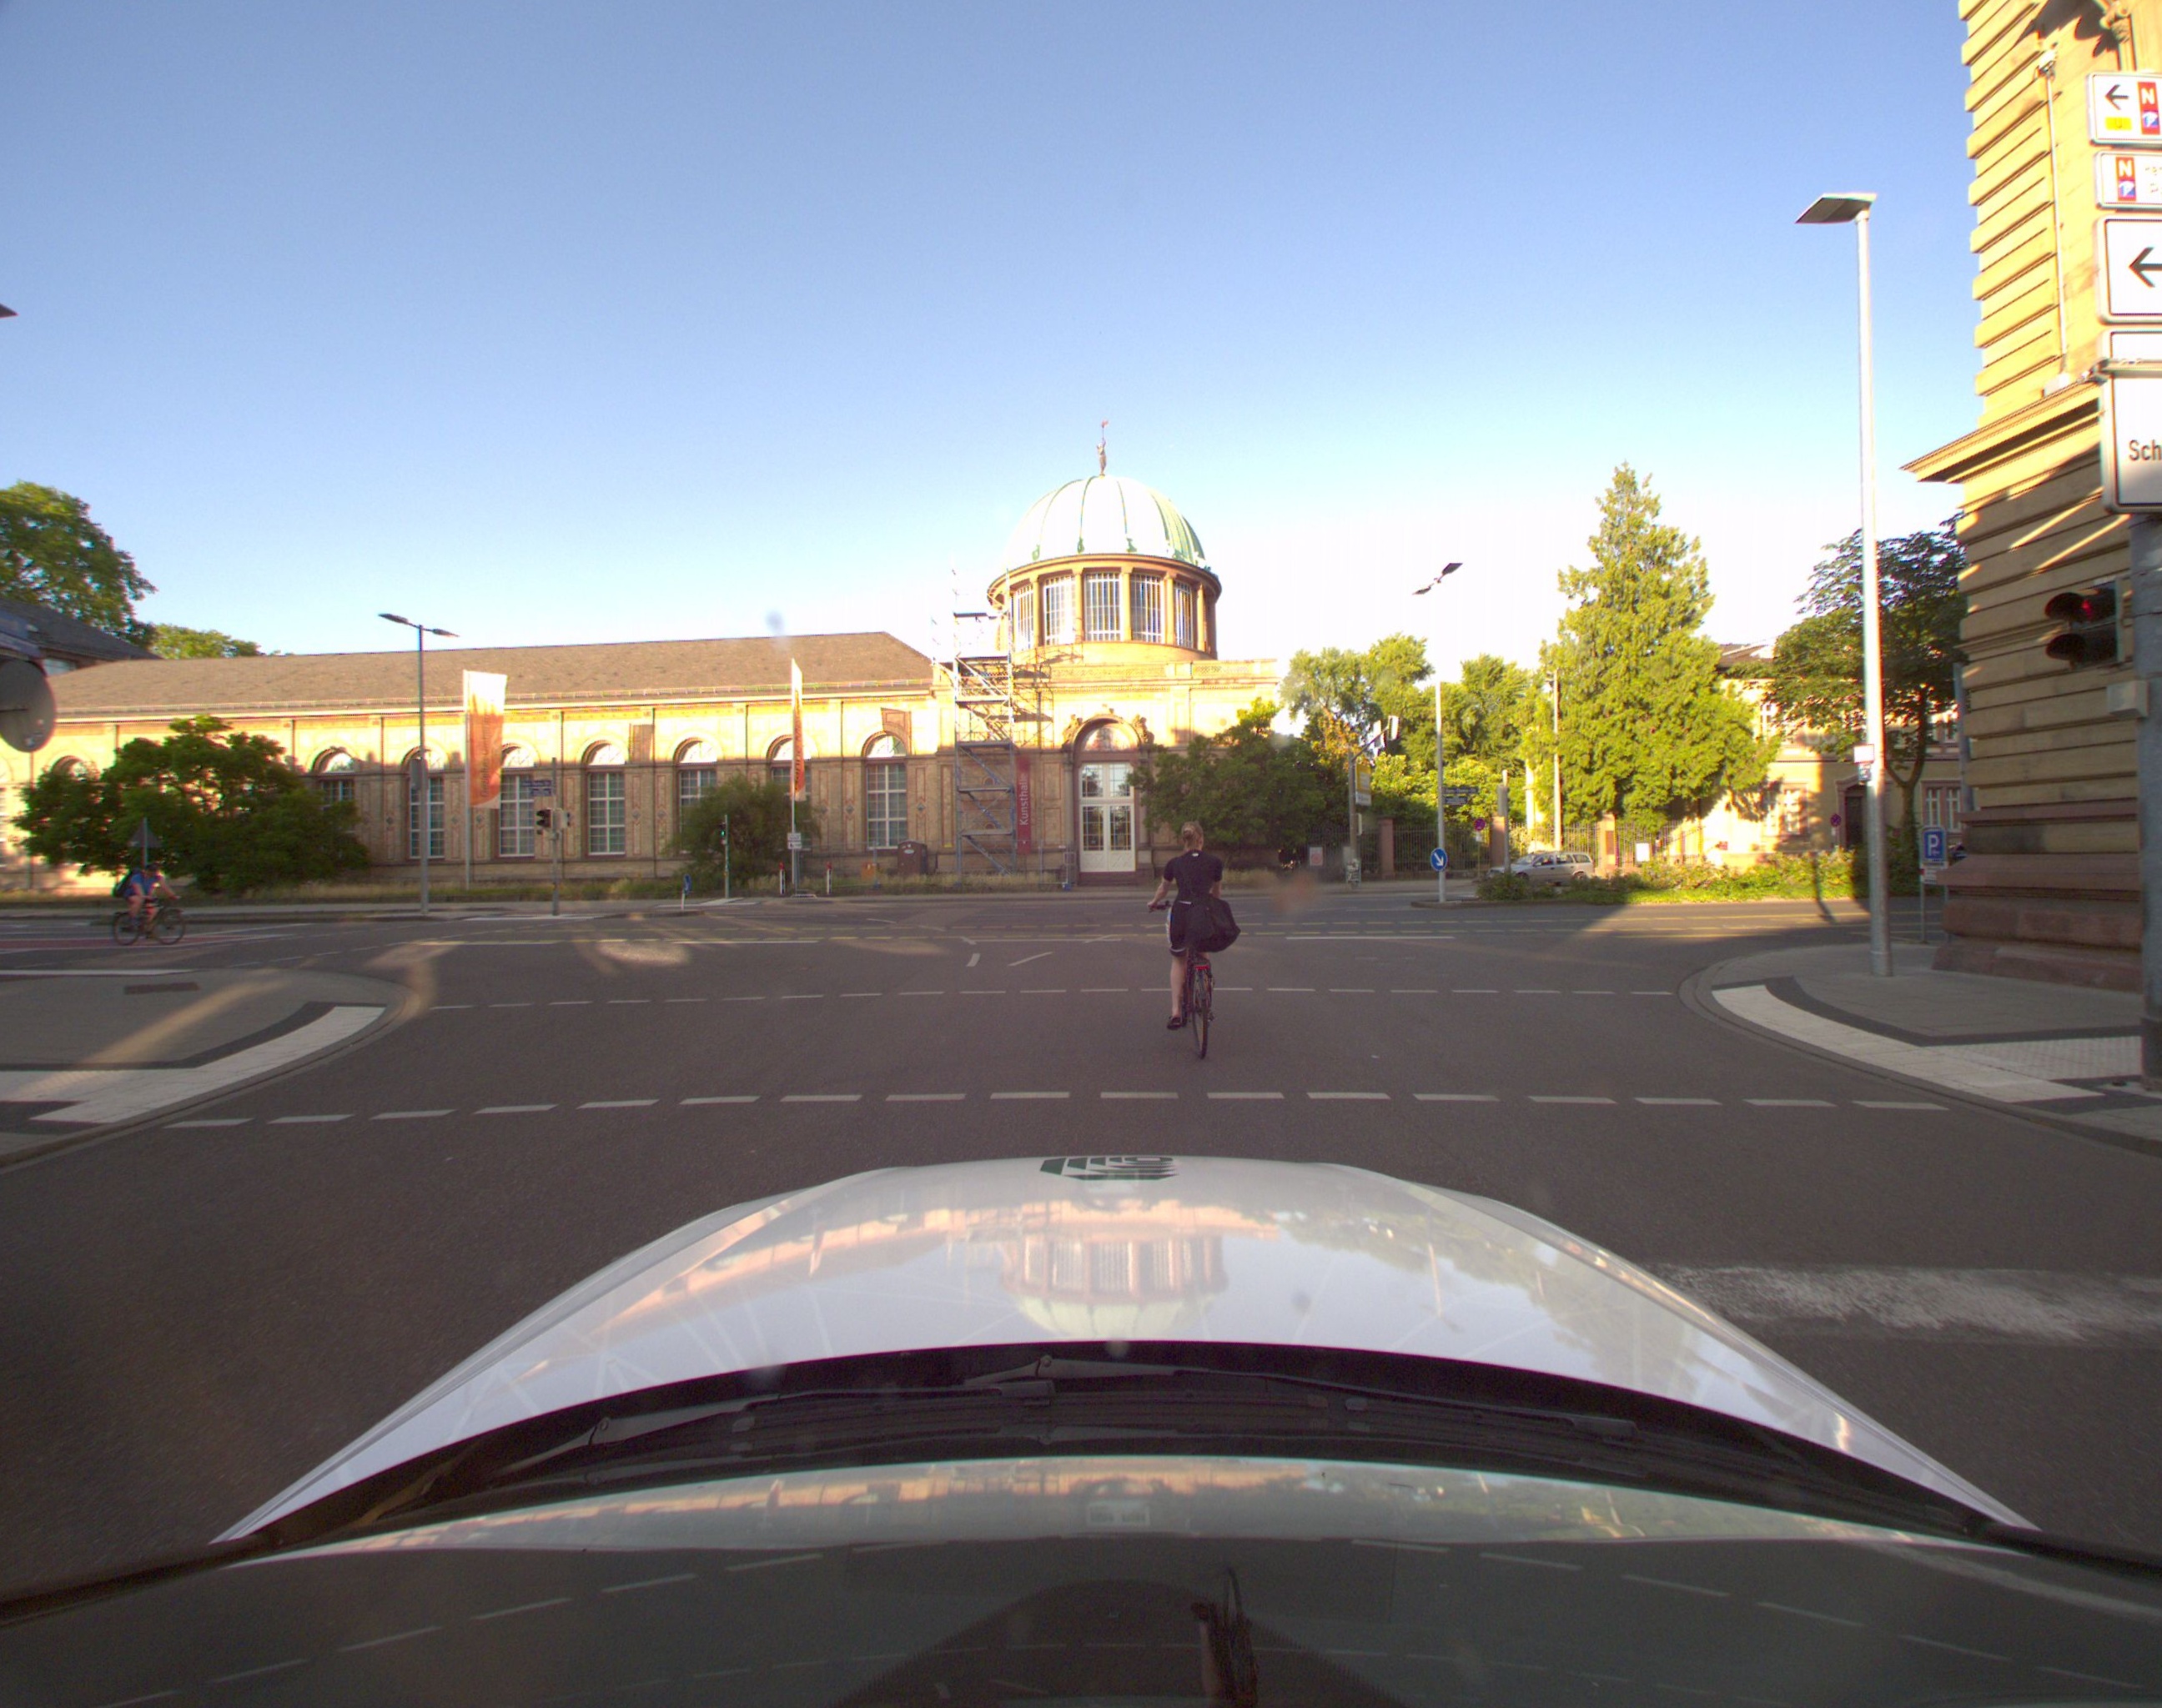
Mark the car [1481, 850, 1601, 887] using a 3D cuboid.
[{"bbox_3d":[19.382,0.614,34.413,4.176,1.445,1.713,-1,0,-3],"label":"car"}]

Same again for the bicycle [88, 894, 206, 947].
[{"bbox_3d":[-20.457,1.448,17.844,1.983,1.067,0.725,-1,0,8],"label":"bicycle"}]

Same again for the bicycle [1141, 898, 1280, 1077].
[{"bbox_3d":[0.964,0.965,6.612,0.709,1.156,2.067,-1,-2,-2],"label":"bicycle"}]

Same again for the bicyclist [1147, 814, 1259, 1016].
[{"bbox_3d":[0.956,0.469,6.572,0.714,1.503,0.850,-1,-2,-3],"label":"bicyclist"}]

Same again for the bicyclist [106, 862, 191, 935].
[{"bbox_3d":[-20.428,0.963,17.855,1.115,1.544,0.715,-1,0,8],"label":"bicyclist"}]
